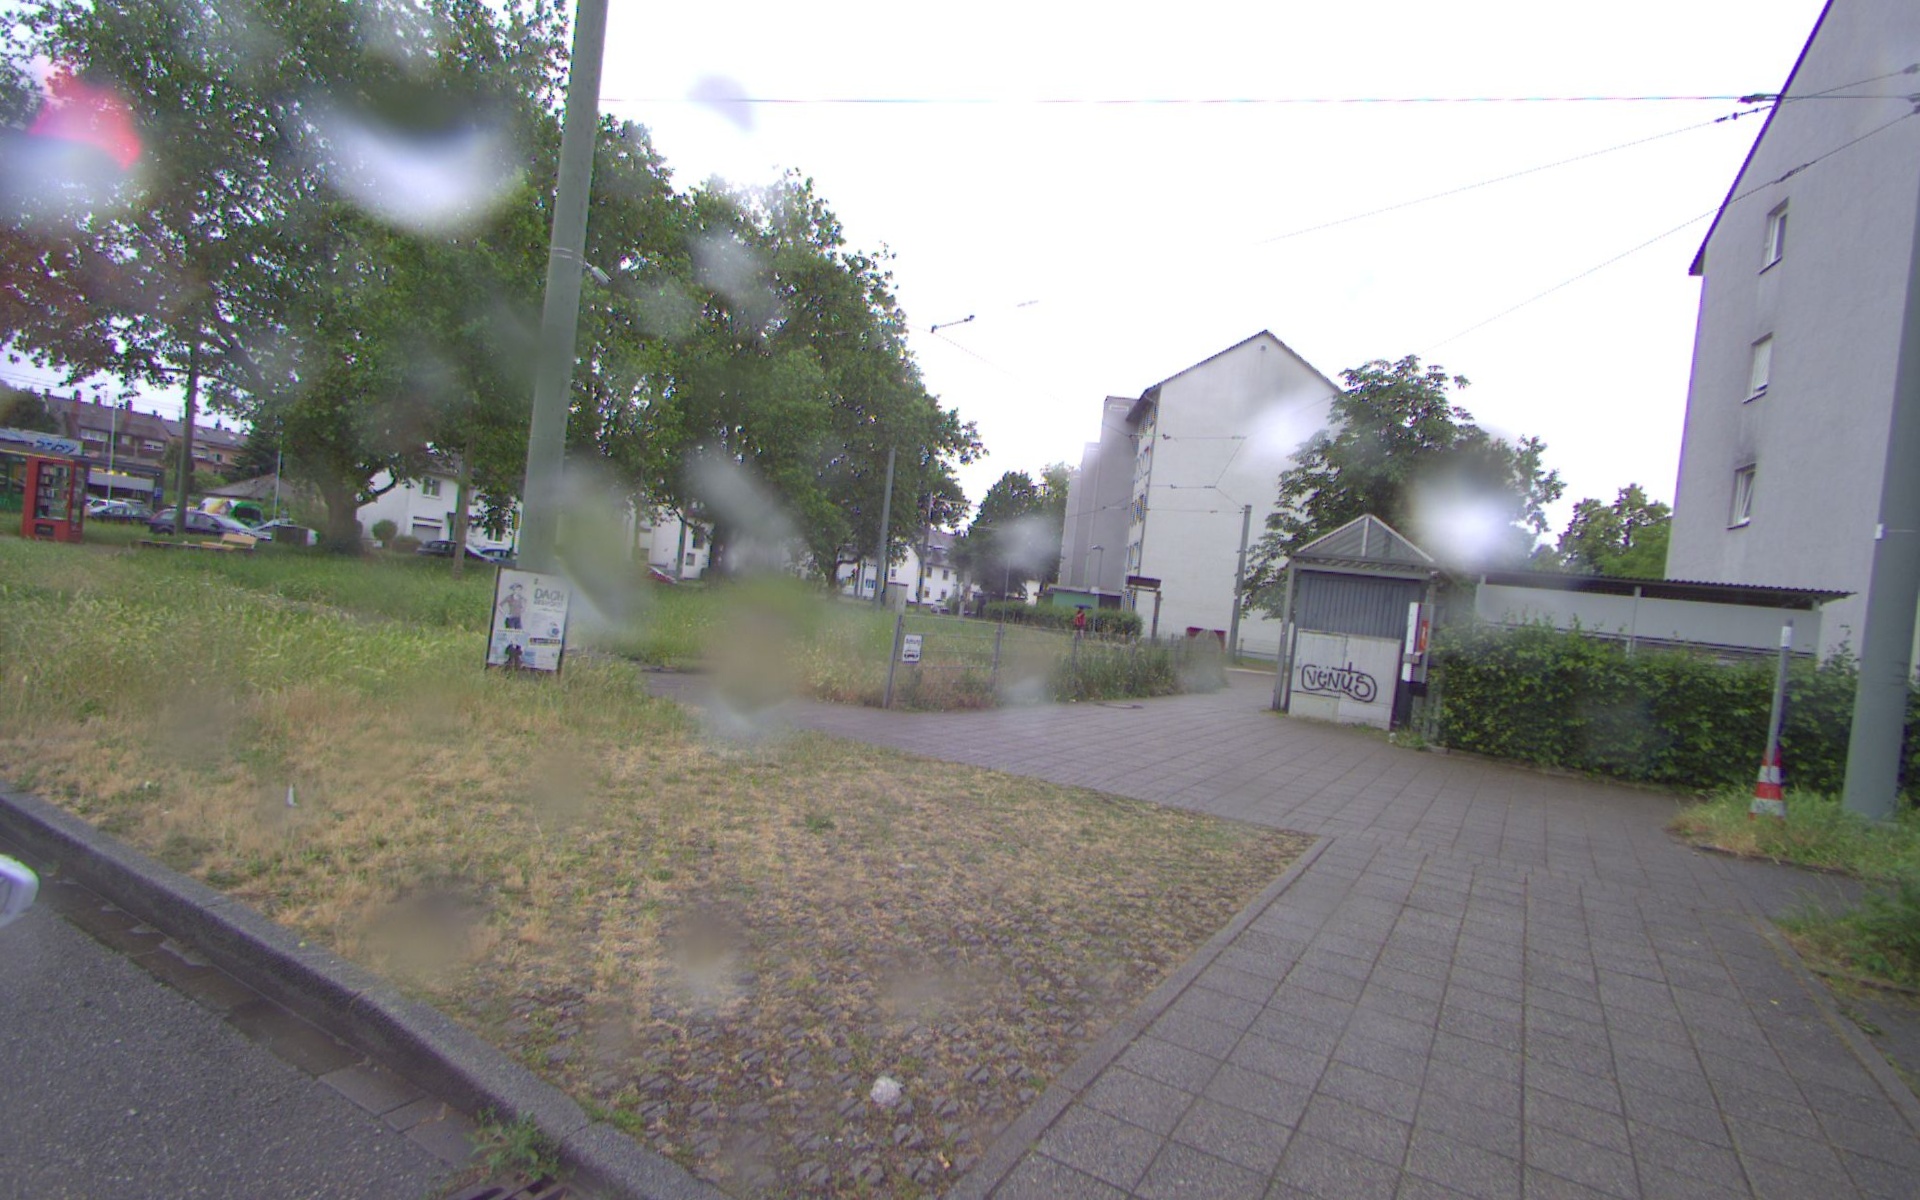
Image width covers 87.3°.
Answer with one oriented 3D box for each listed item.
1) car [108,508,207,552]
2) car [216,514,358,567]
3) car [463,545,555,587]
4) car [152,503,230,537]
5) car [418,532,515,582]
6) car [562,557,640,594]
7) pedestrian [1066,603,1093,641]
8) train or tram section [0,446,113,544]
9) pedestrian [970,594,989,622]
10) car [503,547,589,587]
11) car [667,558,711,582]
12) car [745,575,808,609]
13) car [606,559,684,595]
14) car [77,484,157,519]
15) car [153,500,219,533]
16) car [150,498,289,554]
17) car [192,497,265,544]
[{"bbox_3d":[-43.428,-3.781,54.512,1.859,1.720,3.692,6,-2,32],"label":"car"},{"bbox_3d":[-25.162,-2.204,37.712,1.819,1.300,3.987,6,-3,39],"label":"car"},{"bbox_3d":[-22.809,-1.702,51.065,3.855,1.512,1.806,8,-2,-15],"label":"car"},{"bbox_3d":[-55.465,-5.764,72.607,1.816,1.658,3.995,6,-2,32],"label":"car"},{"bbox_3d":[-23.731,-2.038,48.531,3.710,1.819,1.806,8,-2,-15],"label":"car"},{"bbox_3d":[-20.112,-1.356,56.534,3.855,1.512,1.806,8,-2,-15],"label":"car"},{"bbox_3d":[5.704,1.047,48.102,0.878,1.674,0.816,7,-1,-10],"label":"pedestrian"},{"bbox_3d":[-42.023,-4.940,40.450,2.717,3.593,13.149,7,-2,11],"label":"train or tram section"},{"bbox_3d":[1.322,0.550,68.721,1.022,1.811,0.818,7,-1,-3],"label":"pedestrian"},{"bbox_3d":[-21.980,-1.724,53.501,3.855,1.512,1.806,8,-2,-15],"label":"car"},{"bbox_3d":[-25.712,-2.798,95.526,1.859,1.679,3.692,6,-2,32],"label":"car"},{"bbox_3d":[-12.743,-0.543,70.104,3.843,1.785,1.812,7,-2,0],"label":"car"},{"bbox_3d":[-18.629,-1.330,59.591,3.842,1.513,1.812,7,-2,3],"label":"car"},{"bbox_3d":[-61.674,-7.192,73.624,1.968,1.811,3.992,6,-2,34],"label":"car"},{"bbox_3d":[-62.121,-6.706,80.774,3.924,2.037,2.003,7,-2,14],"label":"car"},{"bbox_3d":[-29.194,-2.893,39.785,3.855,1.512,1.806,8,-2,-15],"label":"car"},{"bbox_3d":[-46.745,-5.056,64.270,4.280,2.471,1.998,6,-2,31],"label":"car"}]
